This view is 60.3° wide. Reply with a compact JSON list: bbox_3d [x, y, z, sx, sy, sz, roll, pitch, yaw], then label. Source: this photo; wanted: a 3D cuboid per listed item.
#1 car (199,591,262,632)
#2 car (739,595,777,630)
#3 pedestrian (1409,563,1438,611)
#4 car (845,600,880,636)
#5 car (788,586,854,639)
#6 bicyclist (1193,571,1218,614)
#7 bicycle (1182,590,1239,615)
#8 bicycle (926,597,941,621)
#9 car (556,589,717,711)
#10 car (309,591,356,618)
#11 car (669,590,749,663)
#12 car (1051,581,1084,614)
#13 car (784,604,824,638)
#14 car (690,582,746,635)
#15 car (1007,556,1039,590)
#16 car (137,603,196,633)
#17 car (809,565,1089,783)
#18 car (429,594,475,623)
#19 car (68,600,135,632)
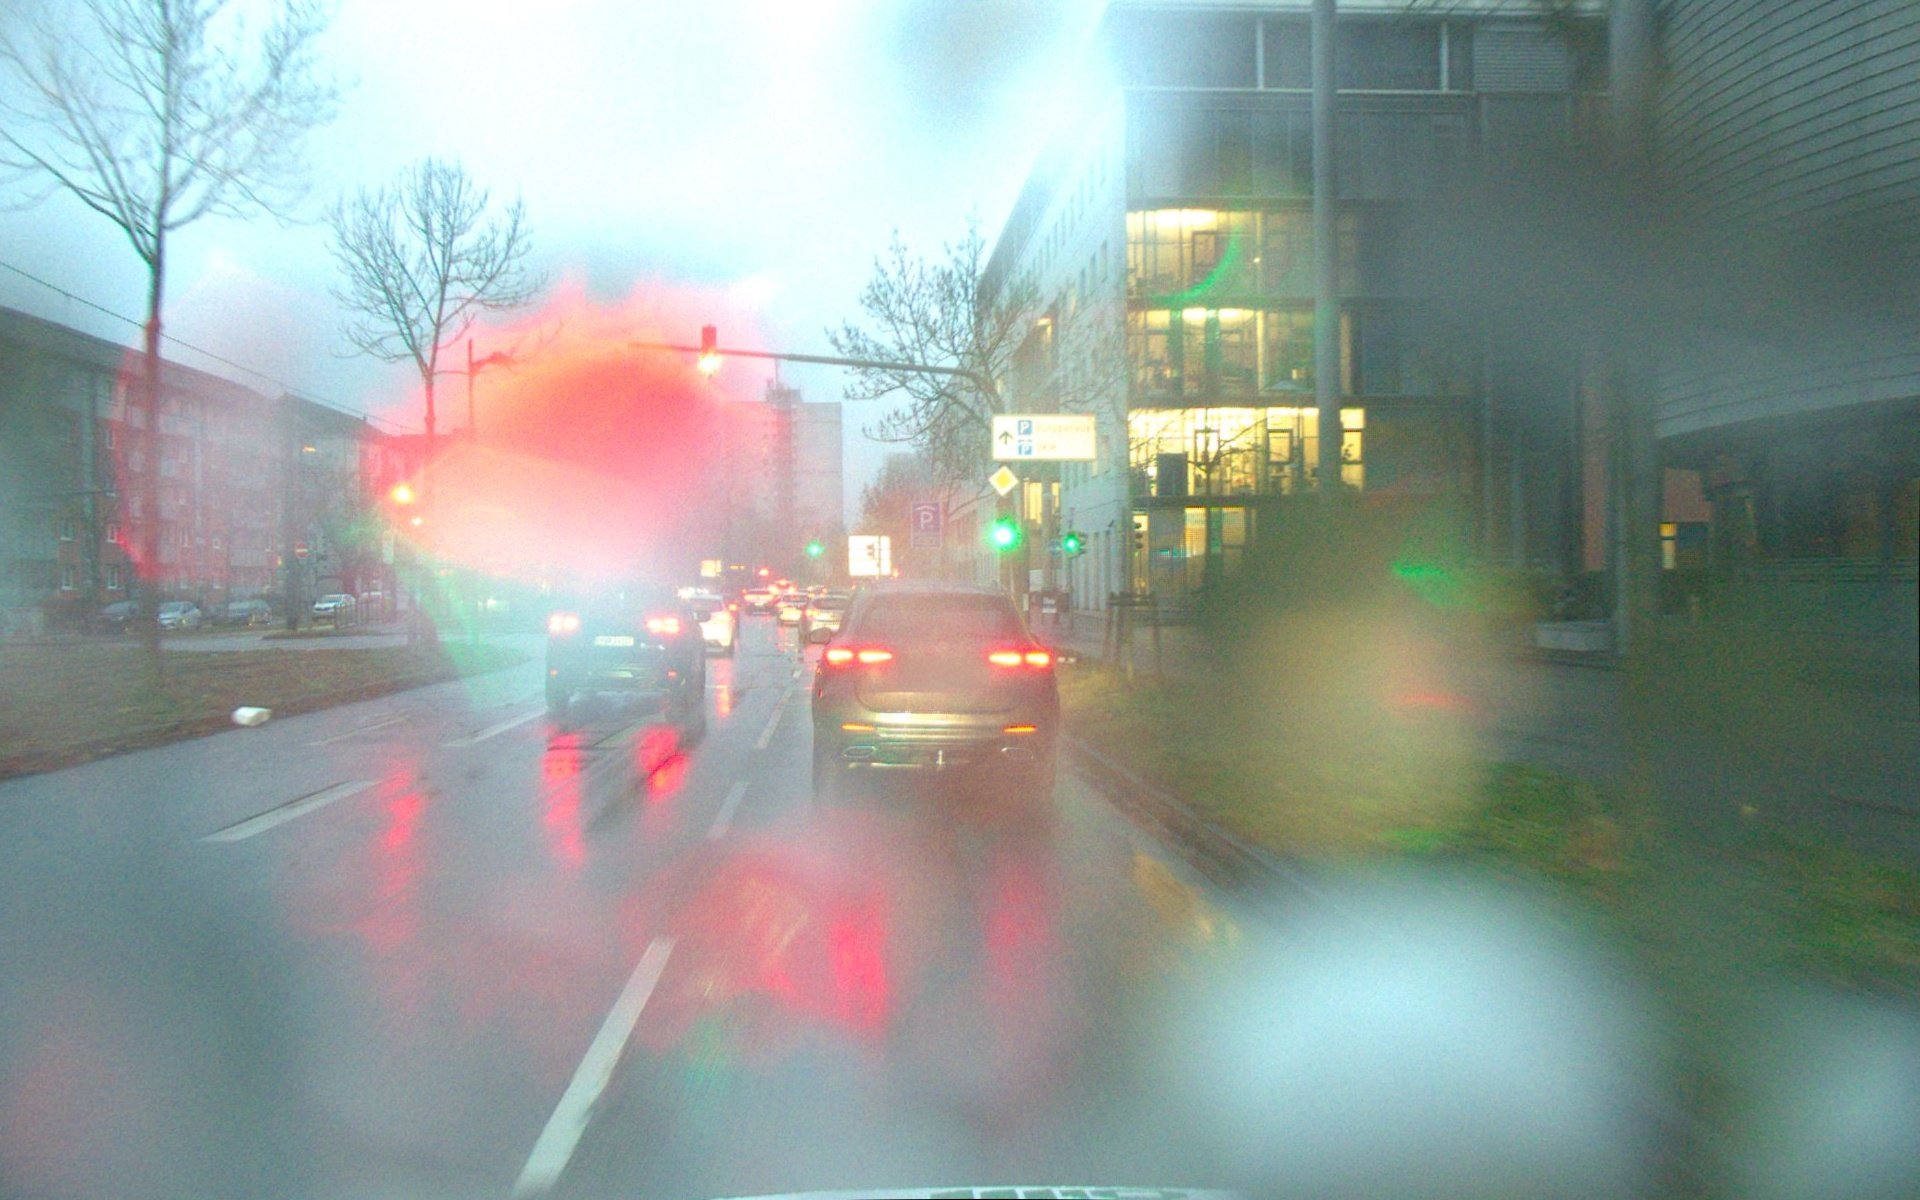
[{"bbox_3d":[-38.587,0.579,87.589,1.956,2.049,3.993,1,0,-8],"label":"car"},{"bbox_3d":[-12.440,0.762,102.068,1.954,2.049,3.998,1,0,-3],"label":"car"},{"bbox_3d":[16.491,-0.450,58.873,0.791,1.683,0.726,1,0,-3],"label":"pedestrian"},{"bbox_3d":[-4.885,0.889,83.279,1.543,1.735,3.702,1,0,-1],"label":"car"},{"bbox_3d":[-4.340,0.373,52.100,1.829,1.570,3.609,1,0,-2],"label":"car"},{"bbox_3d":[7.932,-0.237,53.471,0.609,1.353,0.565,1,0,28],"label":"bicyclist"},{"bbox_3d":[8.085,0.088,53.356,1.696,0.758,0.650,1,0,29],"label":"bicycle"},{"bbox_3d":[-1.153,0.391,71.764,0.534,0.982,1.344,1,0,-7],"label":"bicycle"},{"bbox_3d":[-4.299,0.611,22.495,1.782,1.476,3.995,1,0,-6],"label":"car"},{"bbox_3d":[-39.386,0.277,103.827,1.895,1.625,3.721,1,0,-8],"label":"car"},{"bbox_3d":[-6.089,0.617,40.462,1.656,1.664,3.470,1,0,-5],"label":"car"},{"bbox_3d":[5.955,-0.142,91.518,1.594,1.790,3.422,1,0,0],"label":"car"},{"bbox_3d":[-6.993,0.929,74.424,1.527,1.486,3.111,1,0,-1],"label":"car"},{"bbox_3d":[-8.513,0.293,58.421,1.629,1.790,3.565,1,0,-3],"label":"car"},{"bbox_3d":[3.469,-1.472,91.525,1.594,1.790,3.422,1,0,0],"label":"car"},{"bbox_3d":[-37.739,0.848,78.710,1.416,1.309,3.382,1,0,-5],"label":"car"},{"bbox_3d":[-0.216,0.525,13.514,1.954,1.509,3.696,1,0,-5],"label":"car"},{"bbox_3d":[-25.140,0.391,81.966,1.416,1.365,3.633,1,0,-5],"label":"car"},{"bbox_3d":[-37.447,0.664,72.204,1.416,1.309,3.382,1,0,-5],"label":"car"}]
